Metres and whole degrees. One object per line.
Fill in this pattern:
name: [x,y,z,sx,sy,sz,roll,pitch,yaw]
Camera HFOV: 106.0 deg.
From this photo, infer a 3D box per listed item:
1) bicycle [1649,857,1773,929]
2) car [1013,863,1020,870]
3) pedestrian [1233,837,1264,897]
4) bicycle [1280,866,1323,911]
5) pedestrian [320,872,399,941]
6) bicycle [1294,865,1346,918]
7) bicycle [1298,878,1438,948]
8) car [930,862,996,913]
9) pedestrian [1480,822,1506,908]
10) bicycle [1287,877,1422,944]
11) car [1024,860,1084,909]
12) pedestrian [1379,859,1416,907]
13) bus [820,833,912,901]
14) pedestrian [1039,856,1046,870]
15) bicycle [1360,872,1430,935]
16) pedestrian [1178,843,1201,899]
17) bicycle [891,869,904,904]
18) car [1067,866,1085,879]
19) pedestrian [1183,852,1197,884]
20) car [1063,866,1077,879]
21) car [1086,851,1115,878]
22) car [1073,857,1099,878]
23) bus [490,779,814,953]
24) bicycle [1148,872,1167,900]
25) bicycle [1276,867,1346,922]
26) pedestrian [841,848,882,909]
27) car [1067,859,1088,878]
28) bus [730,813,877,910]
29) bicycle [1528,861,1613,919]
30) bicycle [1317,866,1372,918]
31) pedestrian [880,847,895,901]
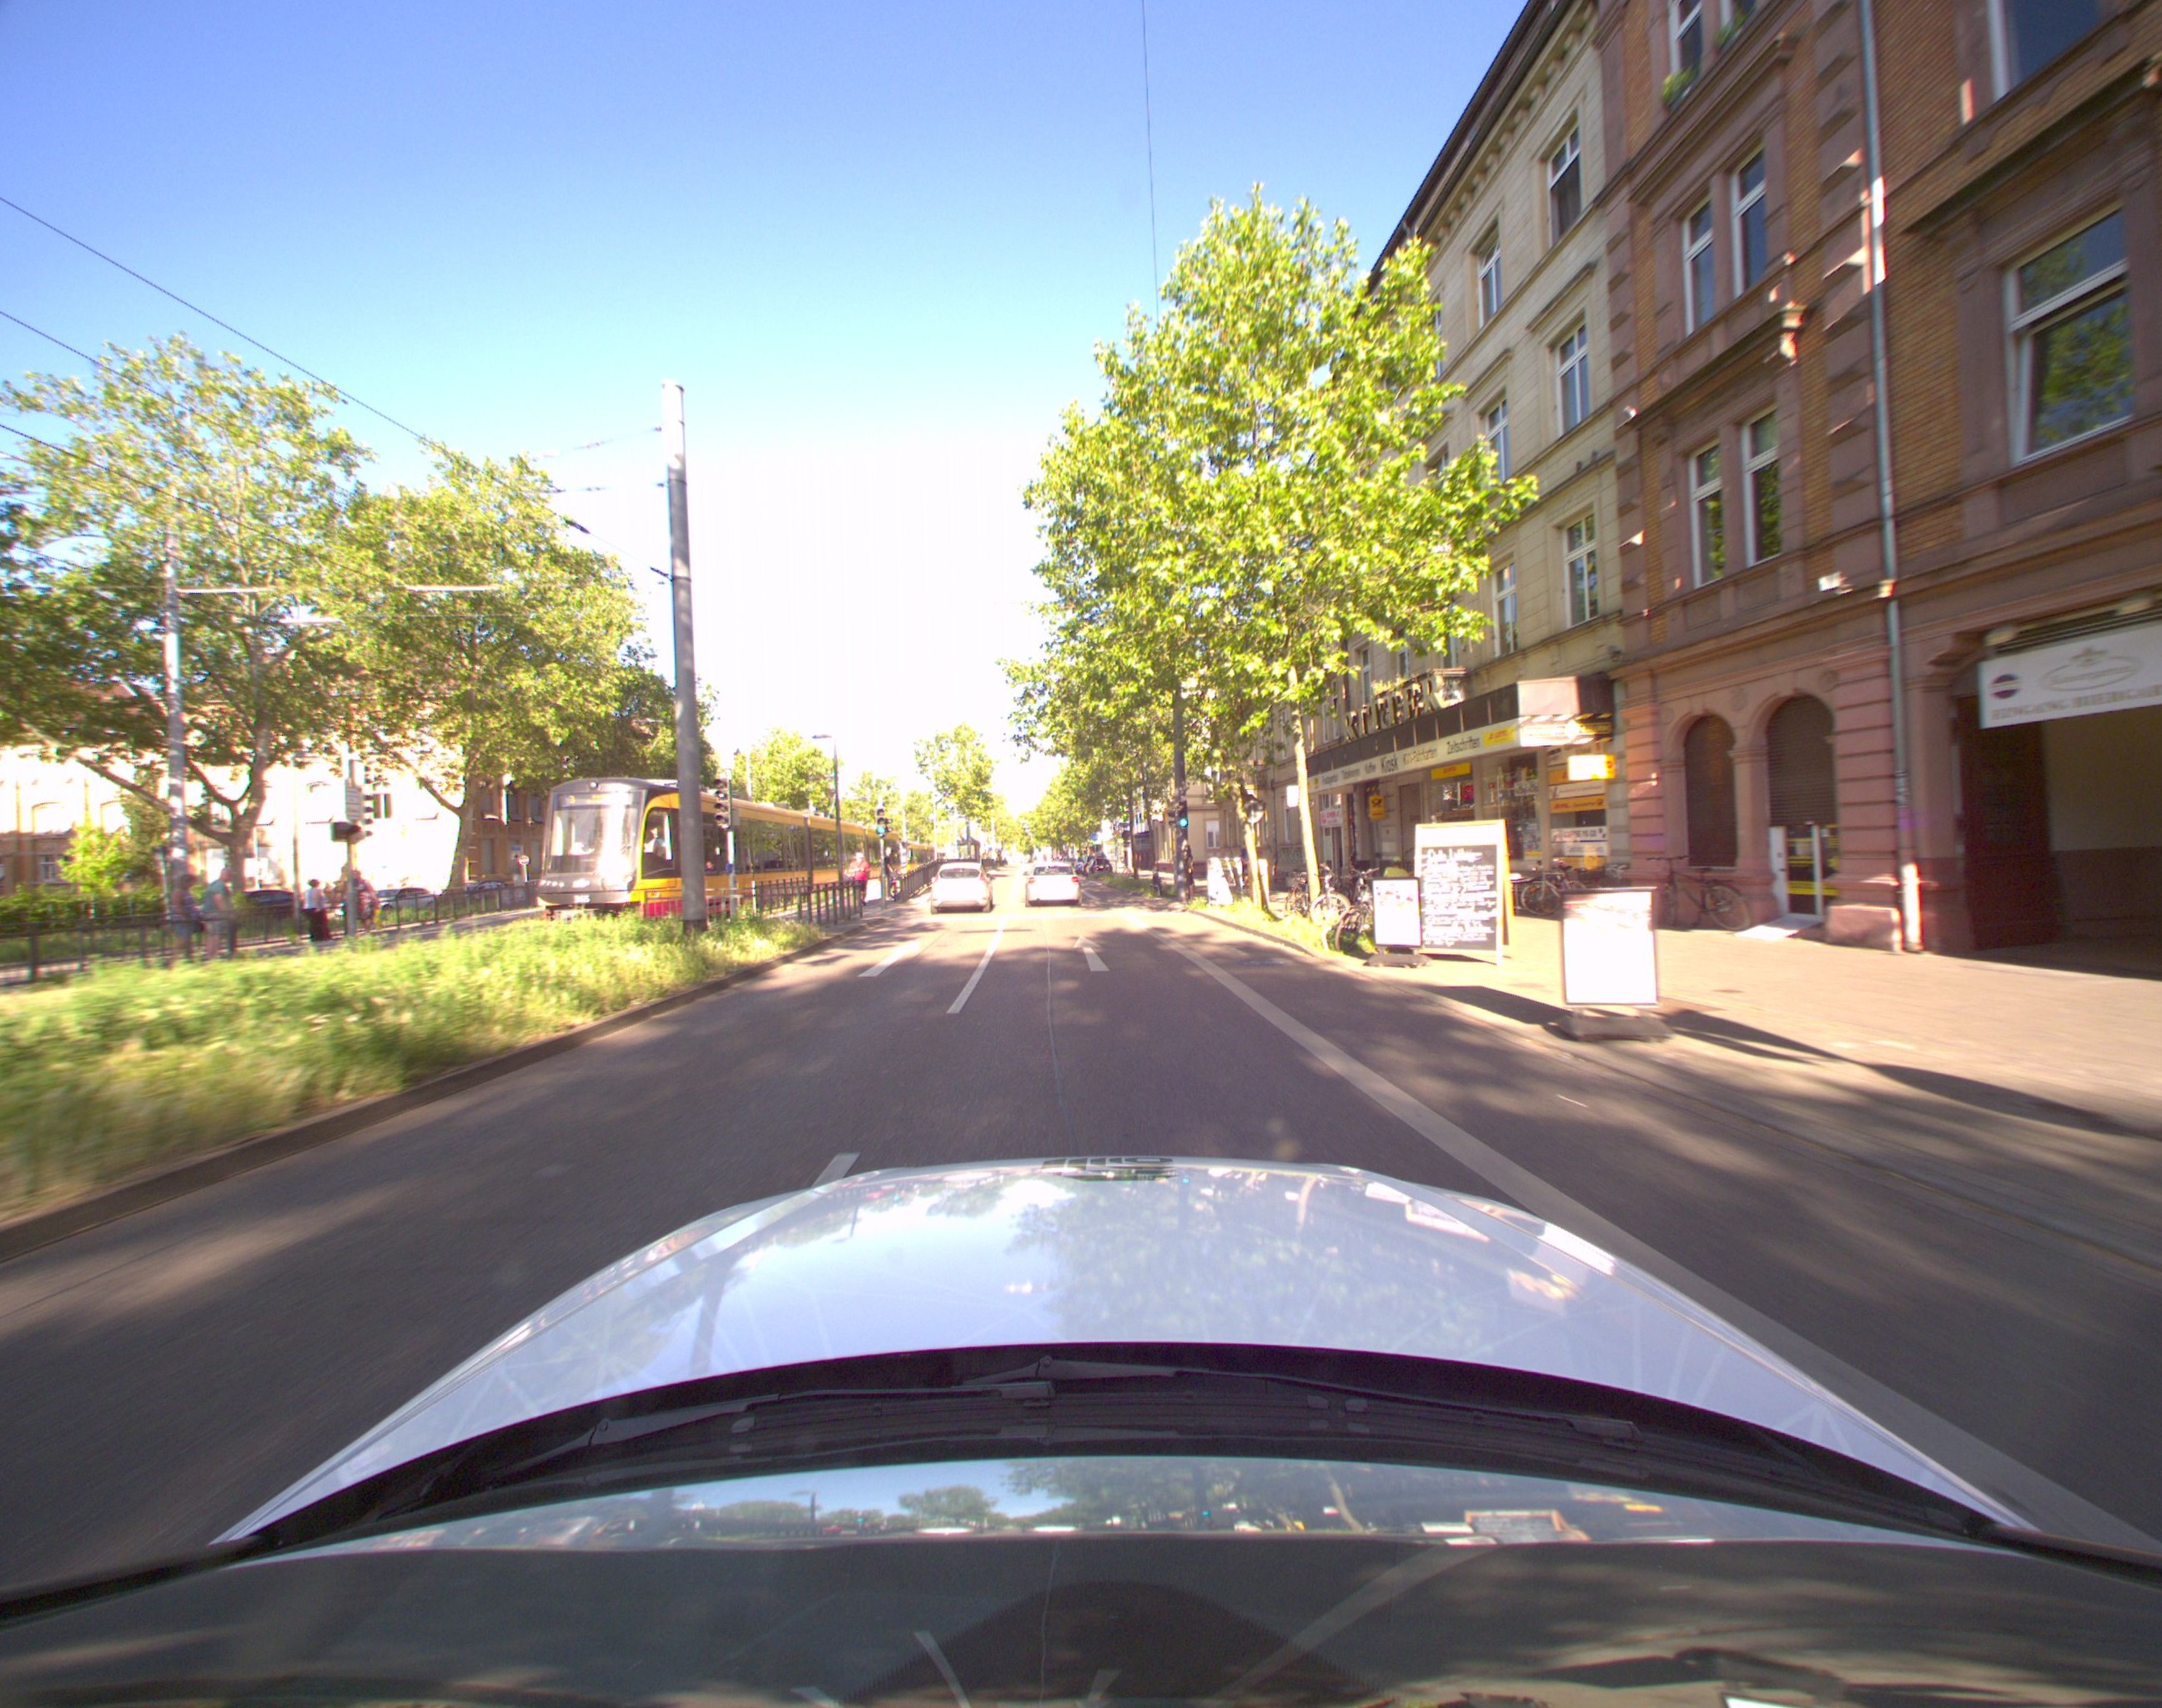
bicycle: [9.366,0.547,12.186,0.442,0.993,1.686,0,0,-5]
car: [-19.215,3.630,243.210,1.989,2.013,3.995,0,0,-4]
pedestrian: [5.732,0.450,27.881,0.879,2.014,0.856,0,0,-1]
bicycle: [5.189,0.797,19.235,0.442,0.993,1.686,0,0,-5]
pedestrian: [-18.148,1.301,20.520,1.177,1.643,0.889,-2,-1,-11]
bicycle: [4.838,0.740,16.588,0.442,0.993,1.686,0,0,-5]
bicycle: [4.329,0.876,12.293,2.001,0.993,0.443,0,0,-7]
car: [-3.443,0.945,24.341,1.643,1.363,3.755,0,0,-3]
pedestrian: [8.863,0.233,17.509,0.463,1.810,0.779,-1,0,27]
bicycle: [4.278,0.871,12.767,2.011,0.993,0.443,0,0,-7]
car: [-0.952,0.943,26.619,1.759,1.432,3.993,0,0,-5]
pedestrian: [7.854,0.700,20.223,0.776,1.161,0.465,0,0,-29]
bus: [-12.234,0.716,47.596,2.863,3.444,11.595,-2,0,-3]
pedestrian: [-5.611,1.325,118.776,0.835,2.014,0.649,0,0,3]
bicycle: [5.403,0.822,14.123,0.442,0.993,1.686,0,0,-5]
pedestrian: [3.524,0.542,26.542,0.639,1.771,0.869,0,0,2]
bicycle: [-6.551,1.141,29.083,0.328,1.214,1.823,-1,0,-10]
car: [-0.628,2.358,103.792,1.989,1.509,4.591,0,-1,-4]
pedestrian: [6.413,0.824,47.875,0.563,1.827,0.957,0,0,-7]
car: [-1.503,2.446,109.060,1.666,1.551,3.995,0,0,-4]
car: [1.428,0.792,62.305,1.751,1.965,4.730,-2,0,-4]
car: [0.356,1.108,68.547,1.794,1.700,4.730,-2,0,-4]
bus: [-10.820,0.280,23.077,2.863,3.444,13.199,-2,0,-3]
bicycle: [2.816,1.159,30.218,0.427,0.970,1.748,0,0,-4]
bicycle: [4.390,0.748,15.648,0.444,0.993,1.678,0,0,-18]
pedestrian: [-7.107,0.782,26.397,1.071,1.916,1.124,-2,-1,-6]
car: [-0.384,1.384,77.619,1.689,1.658,4.033,-2,0,-4]
bus: [-11.588,0.316,35.624,2.863,3.444,12.198,-2,0,-3]
bicycle: [8.921,0.633,14.918,0.442,0.993,1.686,0,0,-5]
bicycle: [5.349,0.749,16.613,0.442,0.993,1.686,0,0,-5]
pedestrian: [-6.859,0.704,28.900,0.451,1.903,0.582,-1,-1,-11]
